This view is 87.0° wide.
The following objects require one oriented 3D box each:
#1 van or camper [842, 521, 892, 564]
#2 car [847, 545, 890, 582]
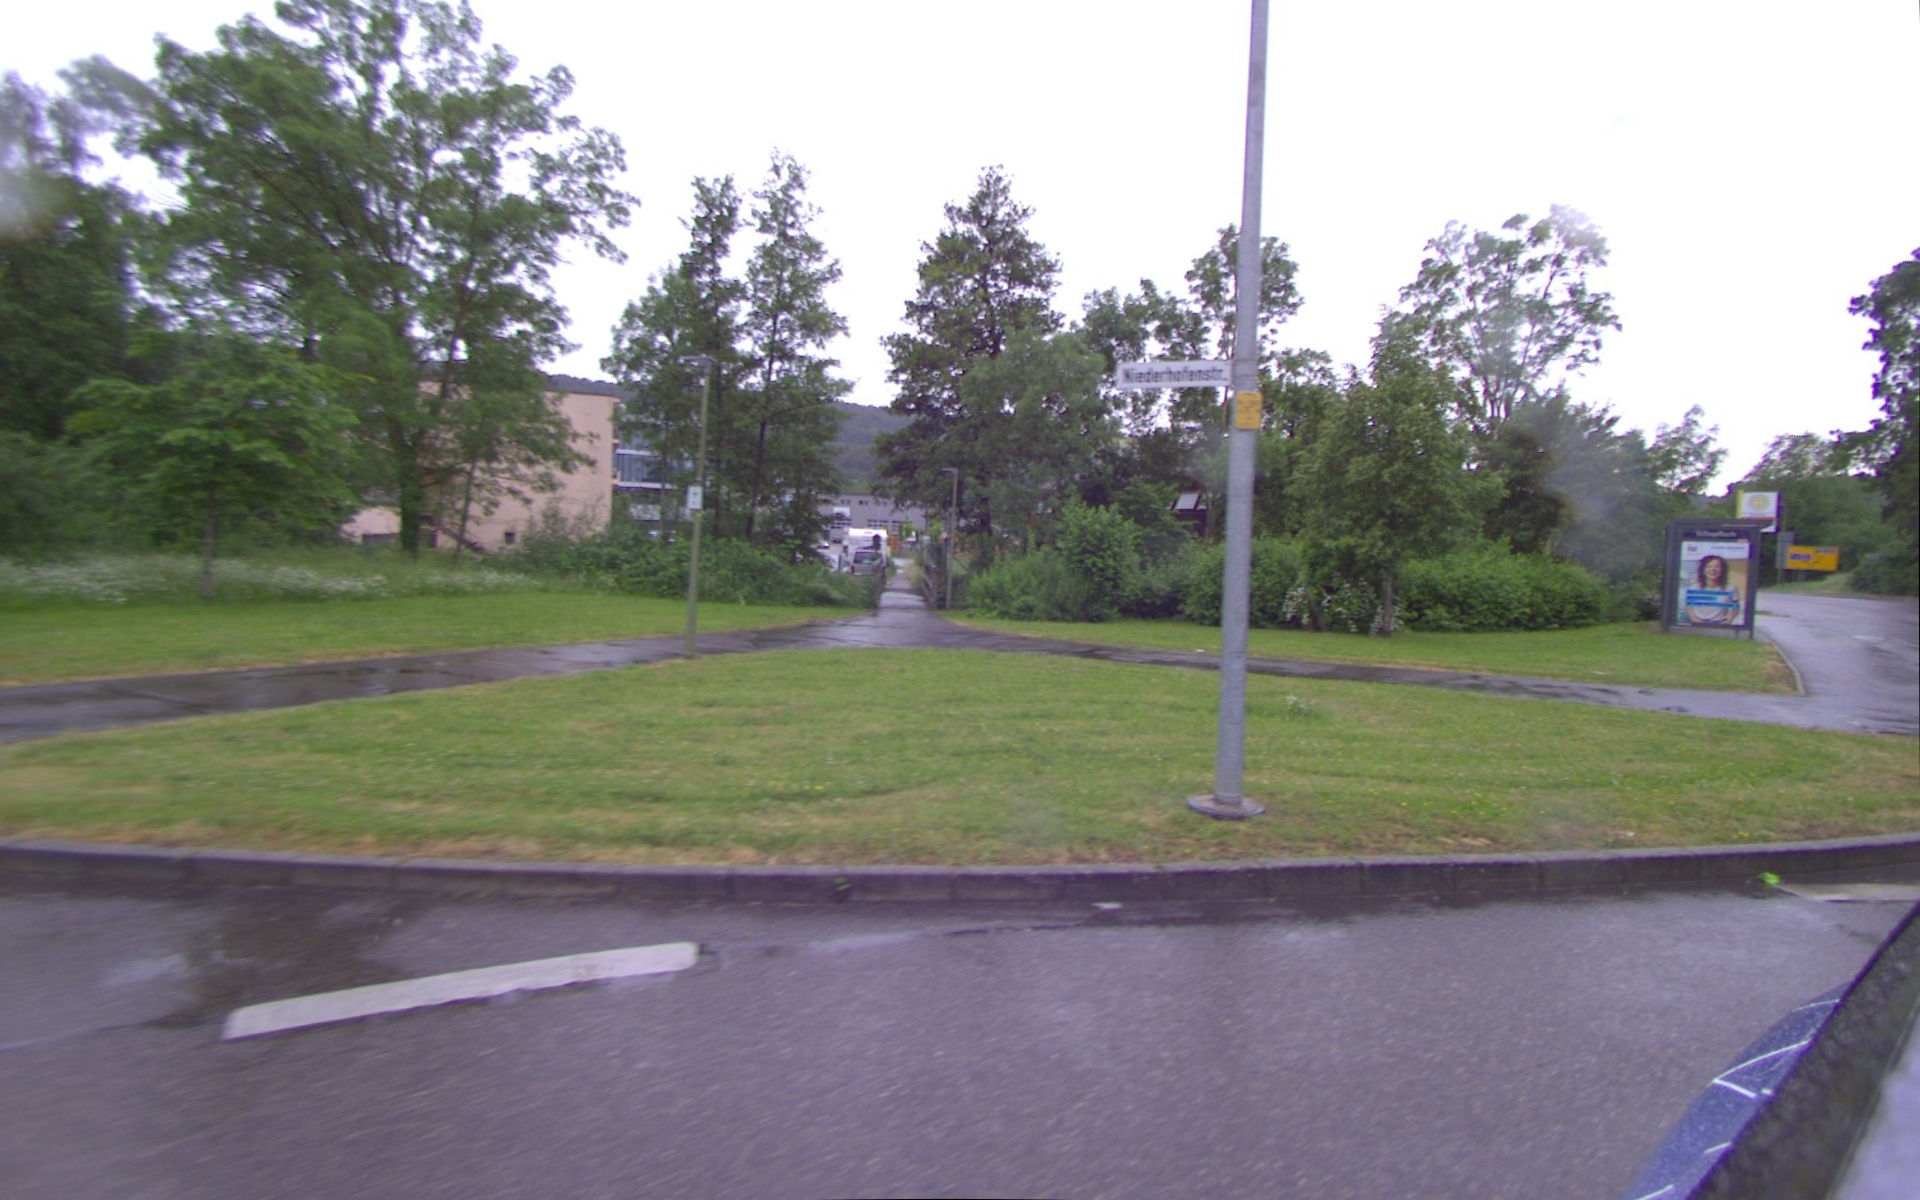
[{"bbox_3d":[-5.465,-3.461,60.177,2.494,2.271,5.983,4,4,-2],"label":"van or camper"},{"bbox_3d":[-4.606,-1.863,50.429,1.959,1.734,4.008,1,3,-7],"label":"car"}]
